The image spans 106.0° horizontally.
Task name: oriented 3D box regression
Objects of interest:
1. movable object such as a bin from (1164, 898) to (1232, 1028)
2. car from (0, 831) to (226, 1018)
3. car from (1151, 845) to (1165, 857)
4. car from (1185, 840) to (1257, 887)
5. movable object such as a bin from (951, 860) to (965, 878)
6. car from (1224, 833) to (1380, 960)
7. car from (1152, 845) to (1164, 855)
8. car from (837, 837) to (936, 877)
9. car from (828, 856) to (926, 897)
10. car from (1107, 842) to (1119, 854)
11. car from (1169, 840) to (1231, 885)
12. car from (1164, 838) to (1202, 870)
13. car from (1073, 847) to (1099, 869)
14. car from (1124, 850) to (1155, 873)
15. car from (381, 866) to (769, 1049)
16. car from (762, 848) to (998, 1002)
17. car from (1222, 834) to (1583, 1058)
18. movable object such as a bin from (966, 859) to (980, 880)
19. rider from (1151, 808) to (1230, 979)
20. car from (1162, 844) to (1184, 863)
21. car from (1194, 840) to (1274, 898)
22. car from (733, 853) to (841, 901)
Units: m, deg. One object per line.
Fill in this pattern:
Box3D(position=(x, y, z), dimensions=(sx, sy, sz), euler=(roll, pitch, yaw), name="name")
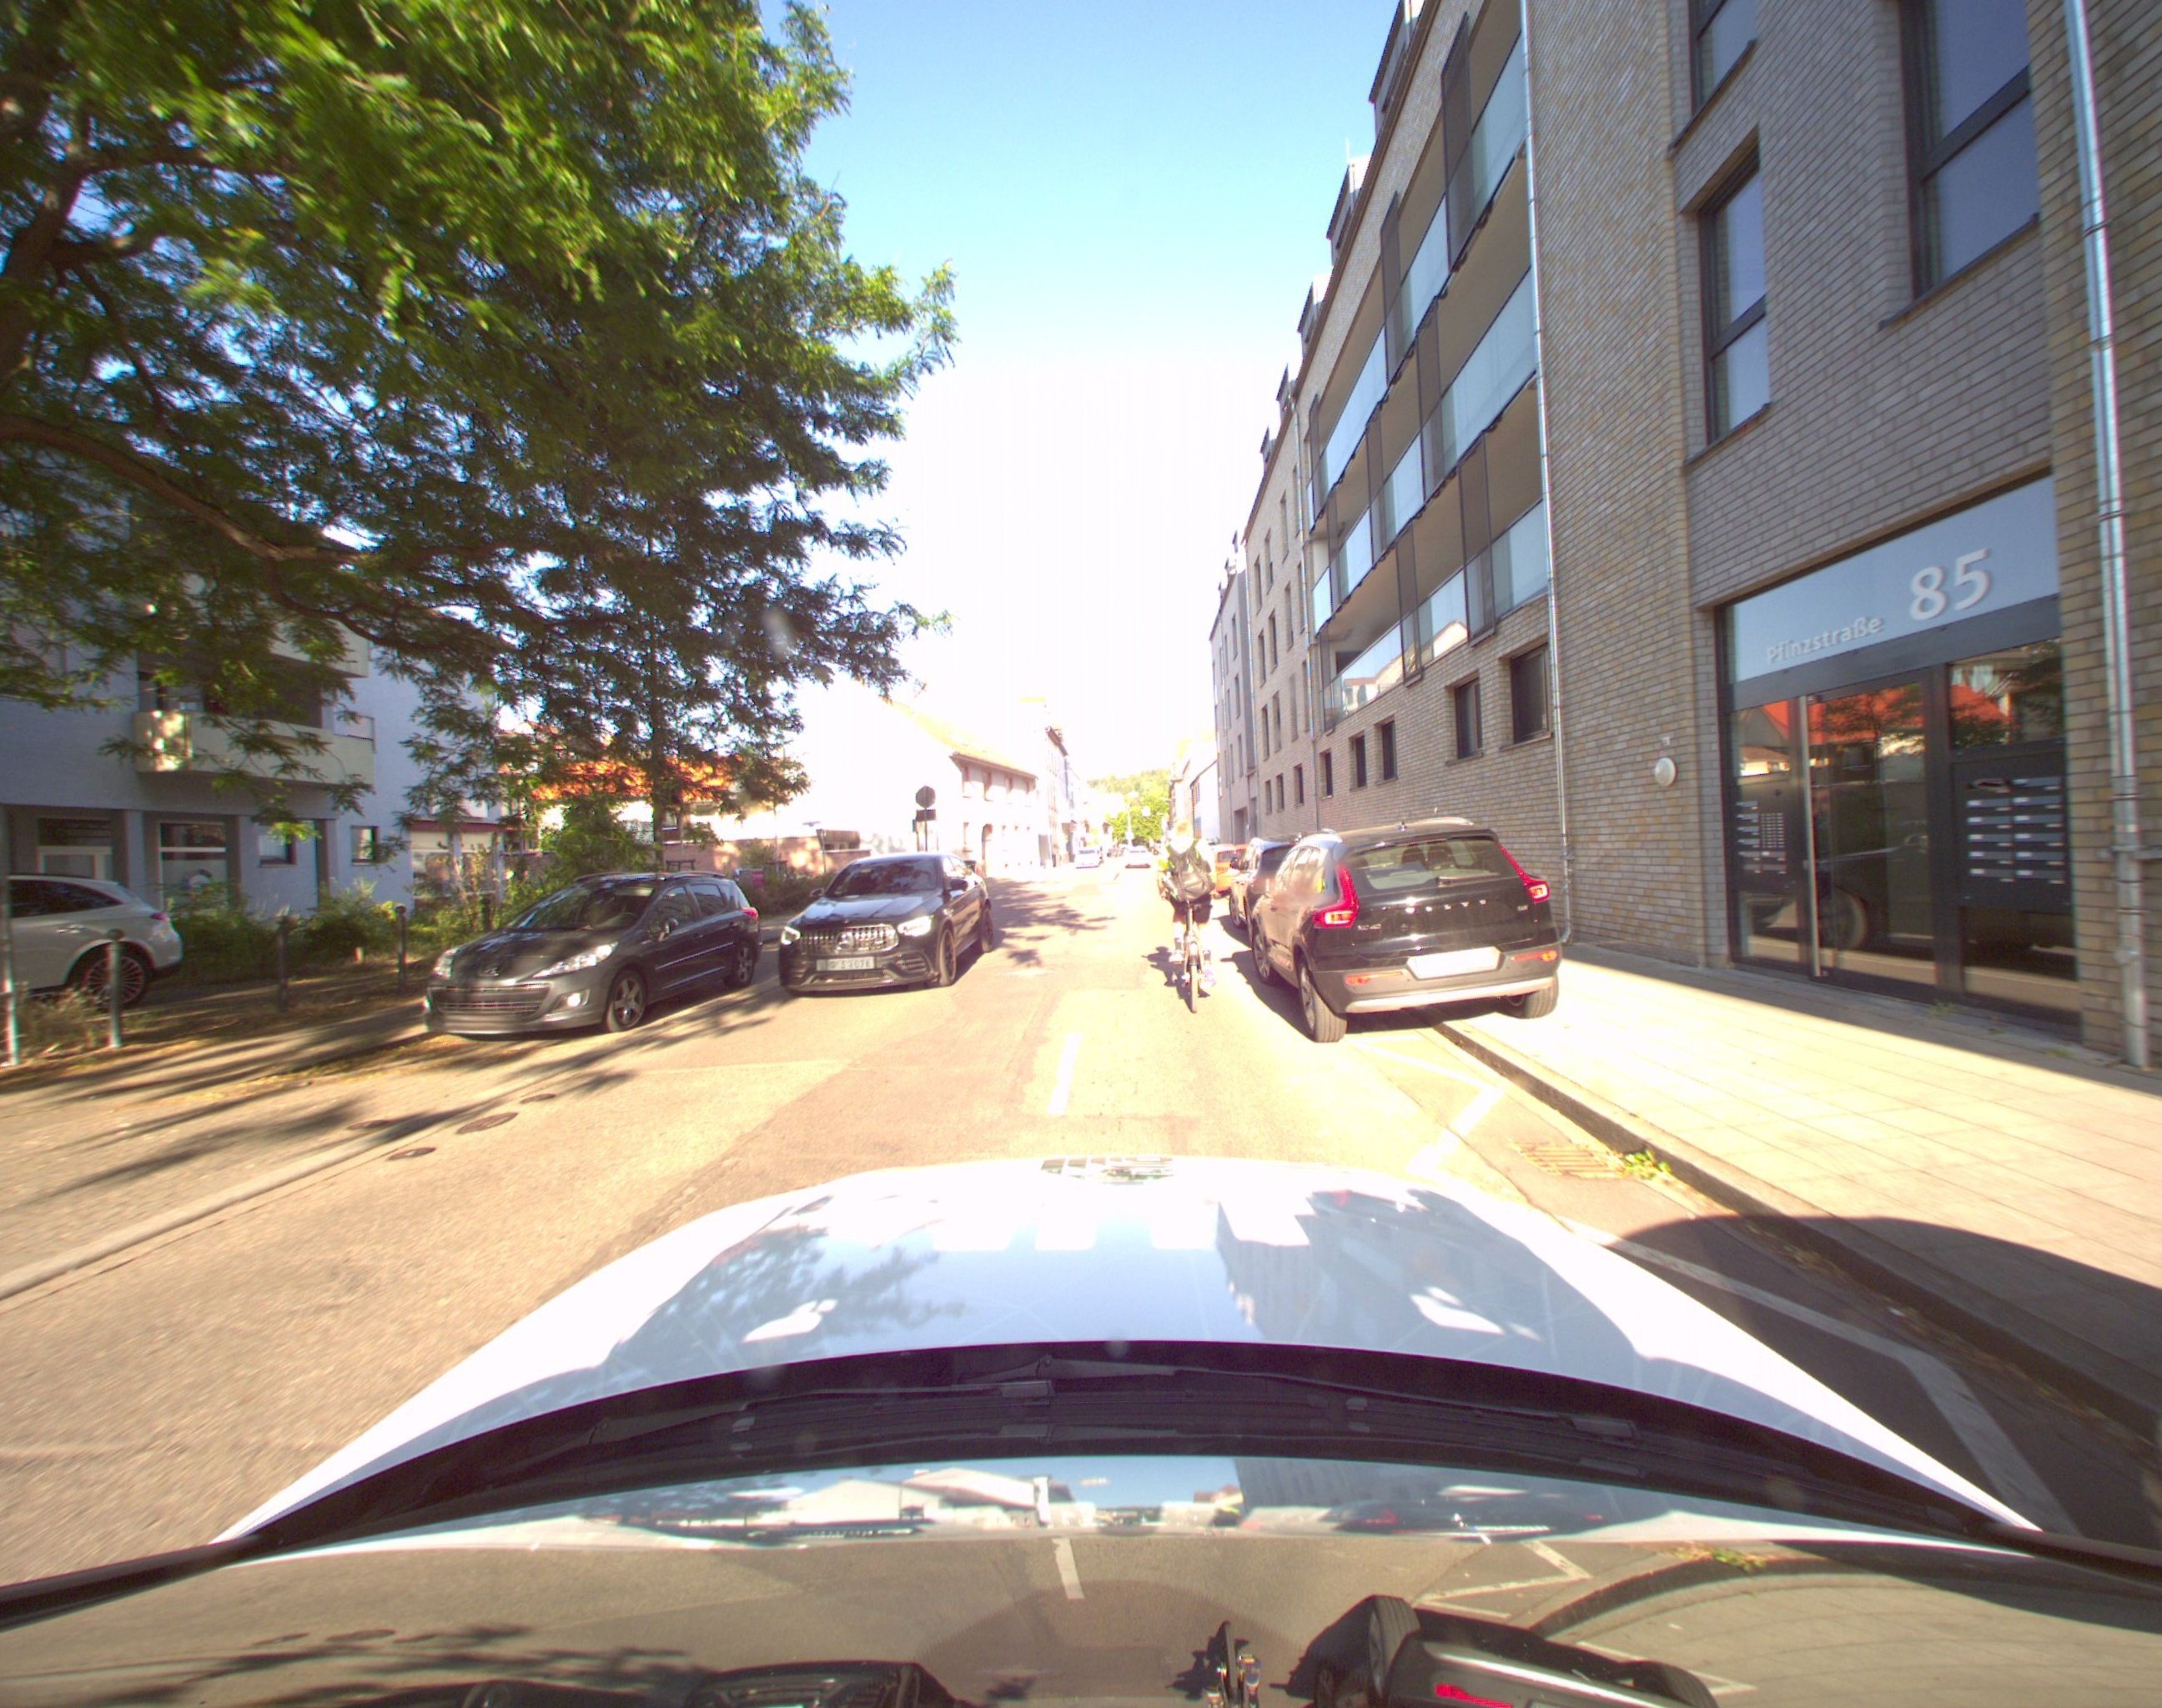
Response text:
Box3D(position=(1.095, 0.978, 7.889), dimensions=(0.453, 1.033, 1.841), euler=(1, -1, 2), name="movable object such as a bin")
Box3D(position=(-11.926, 0.749, 7.998), dimensions=(1.837, 1.895, 4.905), euler=(-2, 1, -1), name="car")
Box3D(position=(12.785, -0.534, 135.239), dimensions=(2.002, 1.853, 4.004), euler=(-1, 1, 3), name="car")
Box3D(position=(4.934, 0.289, 29.226), dimensions=(1.985, 1.505, 4.370), euler=(-2, 1, 3), name="car")
Box3D(position=(-6.486, 0.782, 42.898), dimensions=(0.596, 0.872, 0.606), euler=(-2, 0, 1), name="movable object such as a bin")
Box3D(position=(3.470, 0.547, 13.681), dimensions=(1.879, 1.712, 4.784), euler=(-2, 1, 8), name="car")
Box3D(position=(13.857, -0.725, 146.568), dimensions=(1.809, 1.630, 4.008), euler=(-3, 1, 7), name="car")
Box3D(position=(-9.629, 0.136, 40.427), dimensions=(4.343, 1.794, 1.991), euler=(1, 3, 5), name="car")
Box3D(position=(-9.150, 0.999, 36.705), dimensions=(3.750, 1.530, 2.003), euler=(-3, 1, 4), name="car")
Box3D(position=(5.480, -1.030, 141.091), dimensions=(1.986, 2.013, 4.003), euler=(-2, 0, 2), name="car")
Box3D(position=(4.938, 0.295, 34.346), dimensions=(1.986, 1.653, 4.764), euler=(-2, 1, 1), name="car")
Box3D(position=(5.847, -0.041, 47.240), dimensions=(1.846, 1.636, 4.629), euler=(-5, 0, 4), name="car")
Box3D(position=(0.449, 0.287, 64.880), dimensions=(1.986, 1.647, 5.223), euler=(-2, 0, 1), name="car")
Box3D(position=(4.023, 0.491, 56.747), dimensions=(1.986, 1.466, 4.002), euler=(-3, 0, 2), name="car")
Box3D(position=(-5.150, 0.928, 9.048), dimensions=(1.690, 1.492, 4.002), euler=(-1, 0, 2), name="car")
Box3D(position=(-2.376, 0.757, 10.898), dimensions=(1.932, 1.576, 4.320), euler=(-3, 0, 1), name="car")
Box3D(position=(2.574, 0.625, 7.723), dimensions=(1.809, 1.466, 4.272), euler=(-3, 0, 2), name="car")
Box3D(position=(-5.800, 0.845, 43.843), dimensions=(0.596, 1.094, 0.752), euler=(-1, 0, 4), name="movable object such as a bin")
Box3D(position=(1.056, 0.373, 8.032), dimensions=(0.651, 1.562, 1.083), euler=(1, -1, 2), name="rider")
Box3D(position=(7.950, -0.041, 70.573), dimensions=(1.733, 1.492, 4.445), euler=(-4, 0, 5), name="car")
Box3D(position=(4.472, 0.398, 24.317), dimensions=(1.705, 1.404, 4.077), euler=(-6, 0, 3), name="car")
Box3D(position=(-13.242, 1.008, 36.841), dimensions=(3.970, 1.500, 2.003), euler=(-8, 3, 4), name="car")
